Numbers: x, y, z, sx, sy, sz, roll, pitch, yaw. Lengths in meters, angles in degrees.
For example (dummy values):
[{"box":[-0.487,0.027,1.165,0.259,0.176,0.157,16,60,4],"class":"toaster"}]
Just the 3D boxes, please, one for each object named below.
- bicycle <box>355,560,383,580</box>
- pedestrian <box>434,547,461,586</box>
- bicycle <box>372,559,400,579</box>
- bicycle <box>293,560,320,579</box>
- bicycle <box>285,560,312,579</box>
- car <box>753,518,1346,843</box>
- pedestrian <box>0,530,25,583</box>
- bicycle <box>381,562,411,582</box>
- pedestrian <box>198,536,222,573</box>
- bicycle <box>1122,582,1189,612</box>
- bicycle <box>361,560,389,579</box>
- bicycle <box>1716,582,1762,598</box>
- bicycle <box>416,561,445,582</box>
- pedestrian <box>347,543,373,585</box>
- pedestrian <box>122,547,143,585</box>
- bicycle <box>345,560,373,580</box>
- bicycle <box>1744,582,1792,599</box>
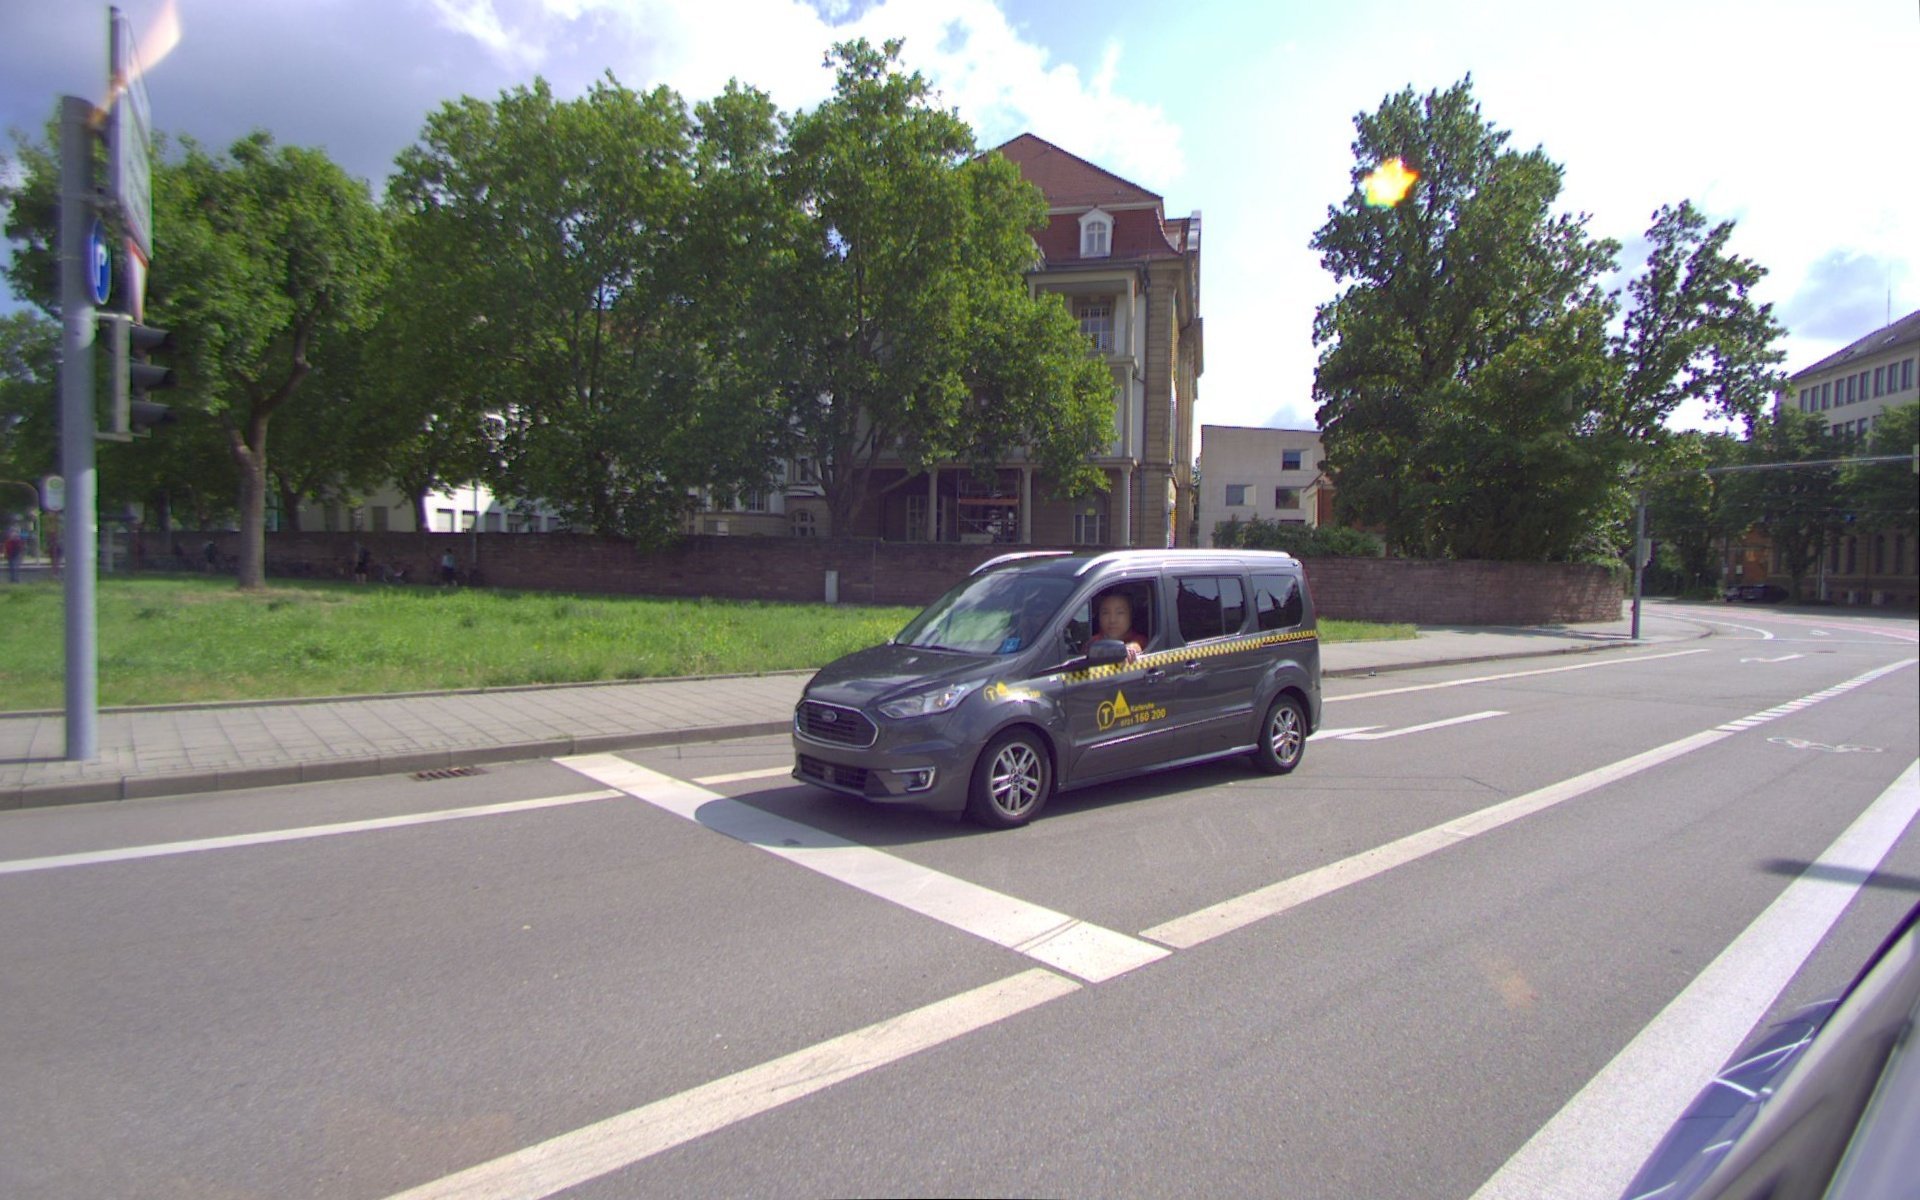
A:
[{"box":[-26.283,-1.346,44.985,0.478,0.859,0.964,2,2,27],"class":"bicycle"},{"box":[-21.008,-1.380,41.479,0.716,1.552,0.721,2,3,22],"class":"pedestrian"},{"box":[-25.149,-1.343,44.369,0.478,0.859,0.964,2,2,27],"class":"bicycle"},{"box":[-30.494,-1.421,47.209,0.478,0.859,0.964,2,2,27],"class":"bicycle"},{"box":[-31.012,-1.422,47.454,0.478,0.859,0.964,2,2,27],"class":"bicycle"},{"box":[0.906,0.419,7.811,4.588,1.807,1.853,0,1,-40],"class":"car"},{"box":[-33.075,-1.523,35.219,0.737,1.801,0.964,-1,3,-41],"class":"pedestrian"},{"box":[-24.465,-1.219,43.912,0.495,0.859,1.064,2,2,27],"class":"bicycle"},{"box":[-37.174,-2.247,50.152,0.871,1.801,0.770,-1,3,-41],"class":"pedestrian"},{"box":[6.473,-0.109,33.580,2.023,0.871,0.859,2,4,3],"class":"bicycle"},{"box":[-25.815,-1.345,44.672,0.478,0.859,0.964,2,2,27],"class":"bicycle"},{"box":[66.691,-0.864,86.653,1.053,1.221,2.898,-4,5,-33],"class":"bicycle"},{"box":[-22.386,-1.207,42.804,0.478,0.859,0.964,2,2,27],"class":"bicycle"},{"box":[-24.977,-1.504,42.101,0.736,1.744,0.657,3,2,30],"class":"pedestrian"},{"box":[-39.120,-1.614,47.852,0.736,1.801,0.770,-1,3,-41],"class":"pedestrian"},{"box":[-26.883,-1.346,45.289,0.478,0.859,0.964,2,2,27],"class":"bicycle"},{"box":[66.610,-0.814,83.441,1.030,1.221,2.898,-4,5,-33],"class":"bicycle"}]
